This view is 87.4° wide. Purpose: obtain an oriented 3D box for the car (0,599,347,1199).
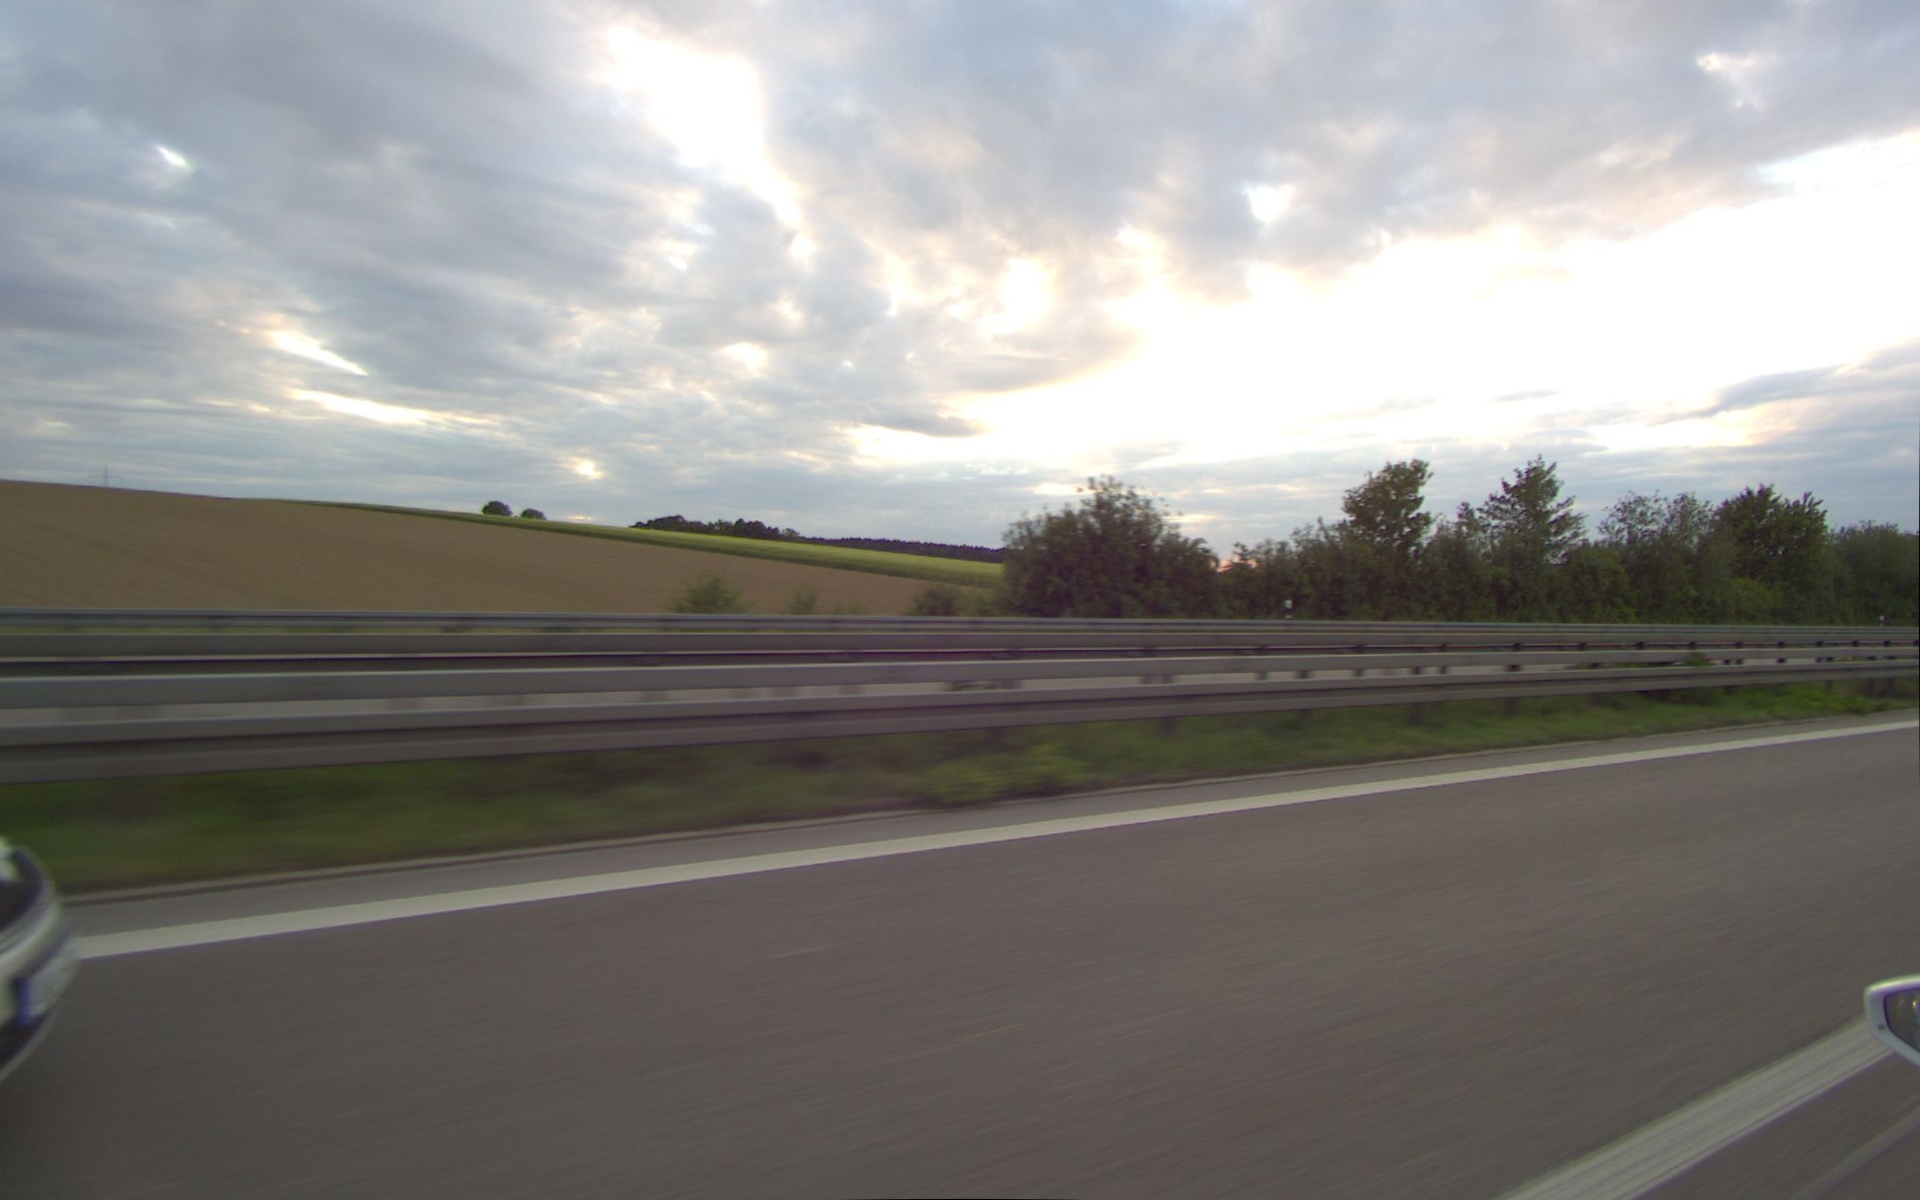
[{"bbox_3d":[-3.808,0.680,1.807,4.548,1.408,1.580,1,0,-31],"label":"car"}]
